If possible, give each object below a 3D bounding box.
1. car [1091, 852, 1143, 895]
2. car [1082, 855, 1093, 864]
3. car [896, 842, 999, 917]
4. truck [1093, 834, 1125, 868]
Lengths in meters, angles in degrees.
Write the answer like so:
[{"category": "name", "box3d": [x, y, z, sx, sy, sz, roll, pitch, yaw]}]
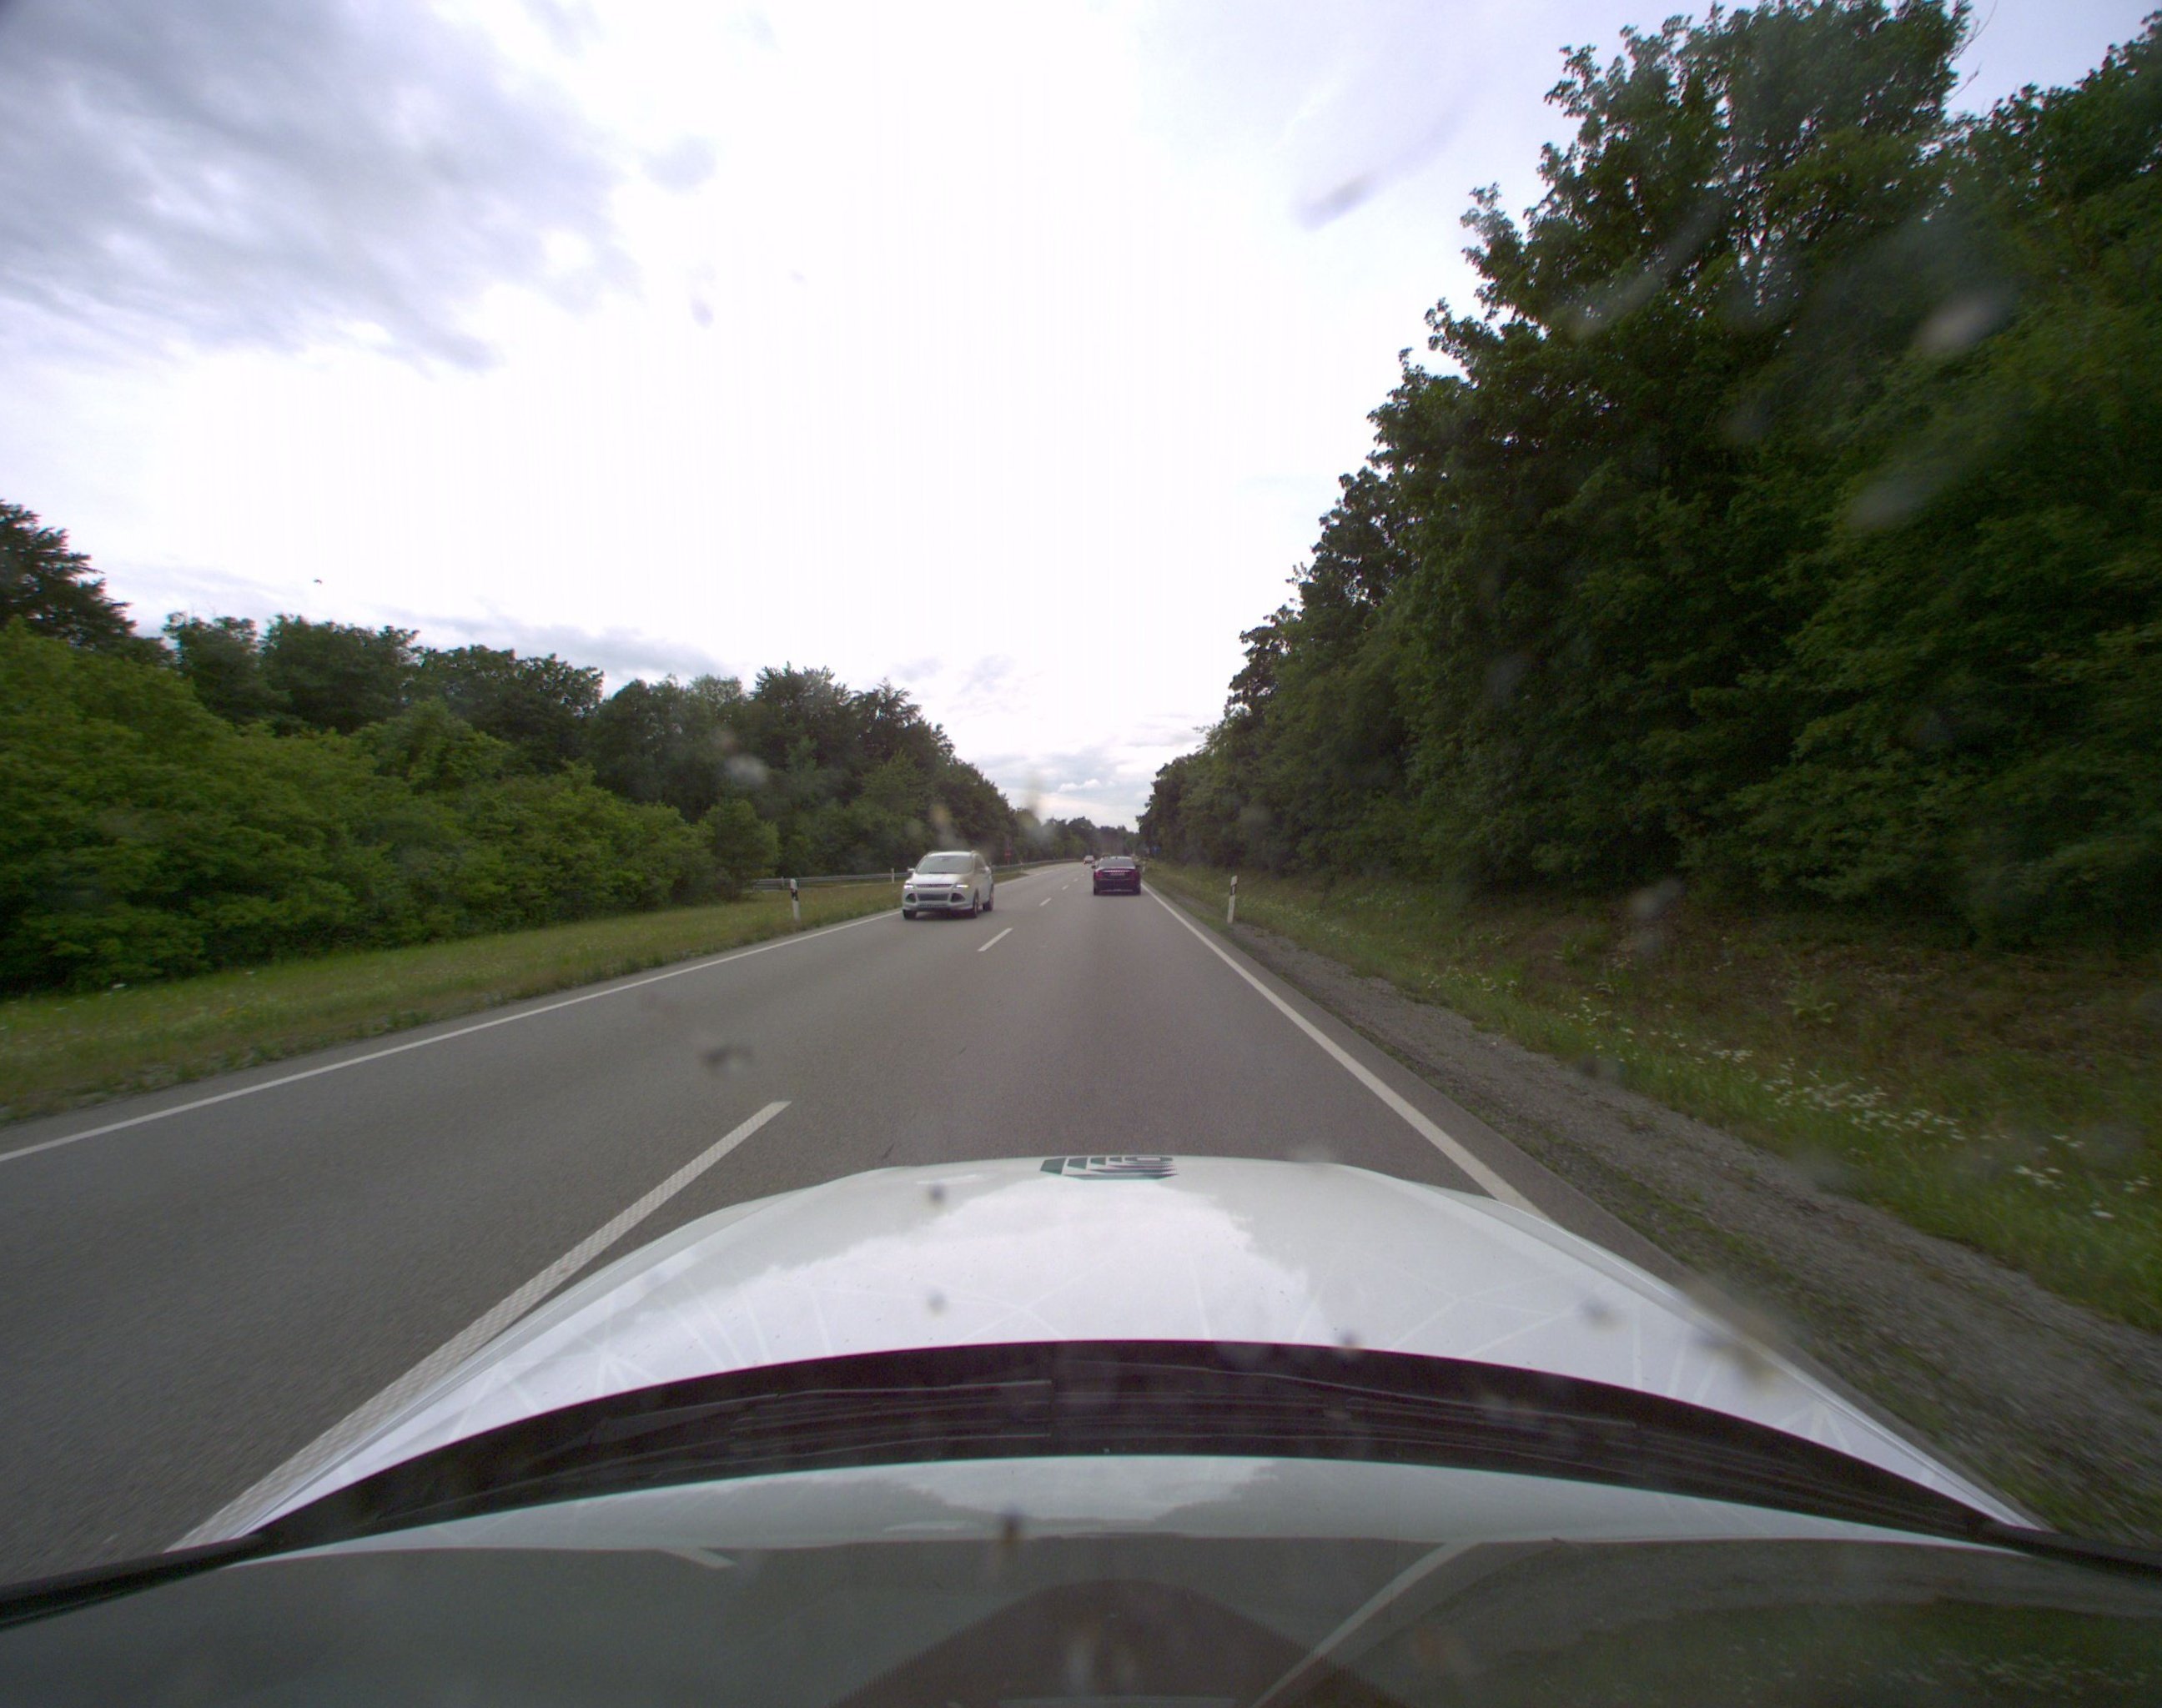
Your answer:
[{"category": "car", "box3d": [1.354, 0.723, 32.173, 1.786, 1.552, 3.997, -1, 0, -2]}, {"category": "car", "box3d": [1.154, 0.974, 145.710, 1.802, 1.442, 4.447, -1, 0, 0]}, {"category": "car", "box3d": [-3.444, 0.624, 21.852, 1.906, 1.780, 4.613, -1, 0, 1]}, {"category": "truck", "box3d": [3.209, -0.305, 91.975, 3.268, 3.611, 11.406, -1, 0, 2]}]
